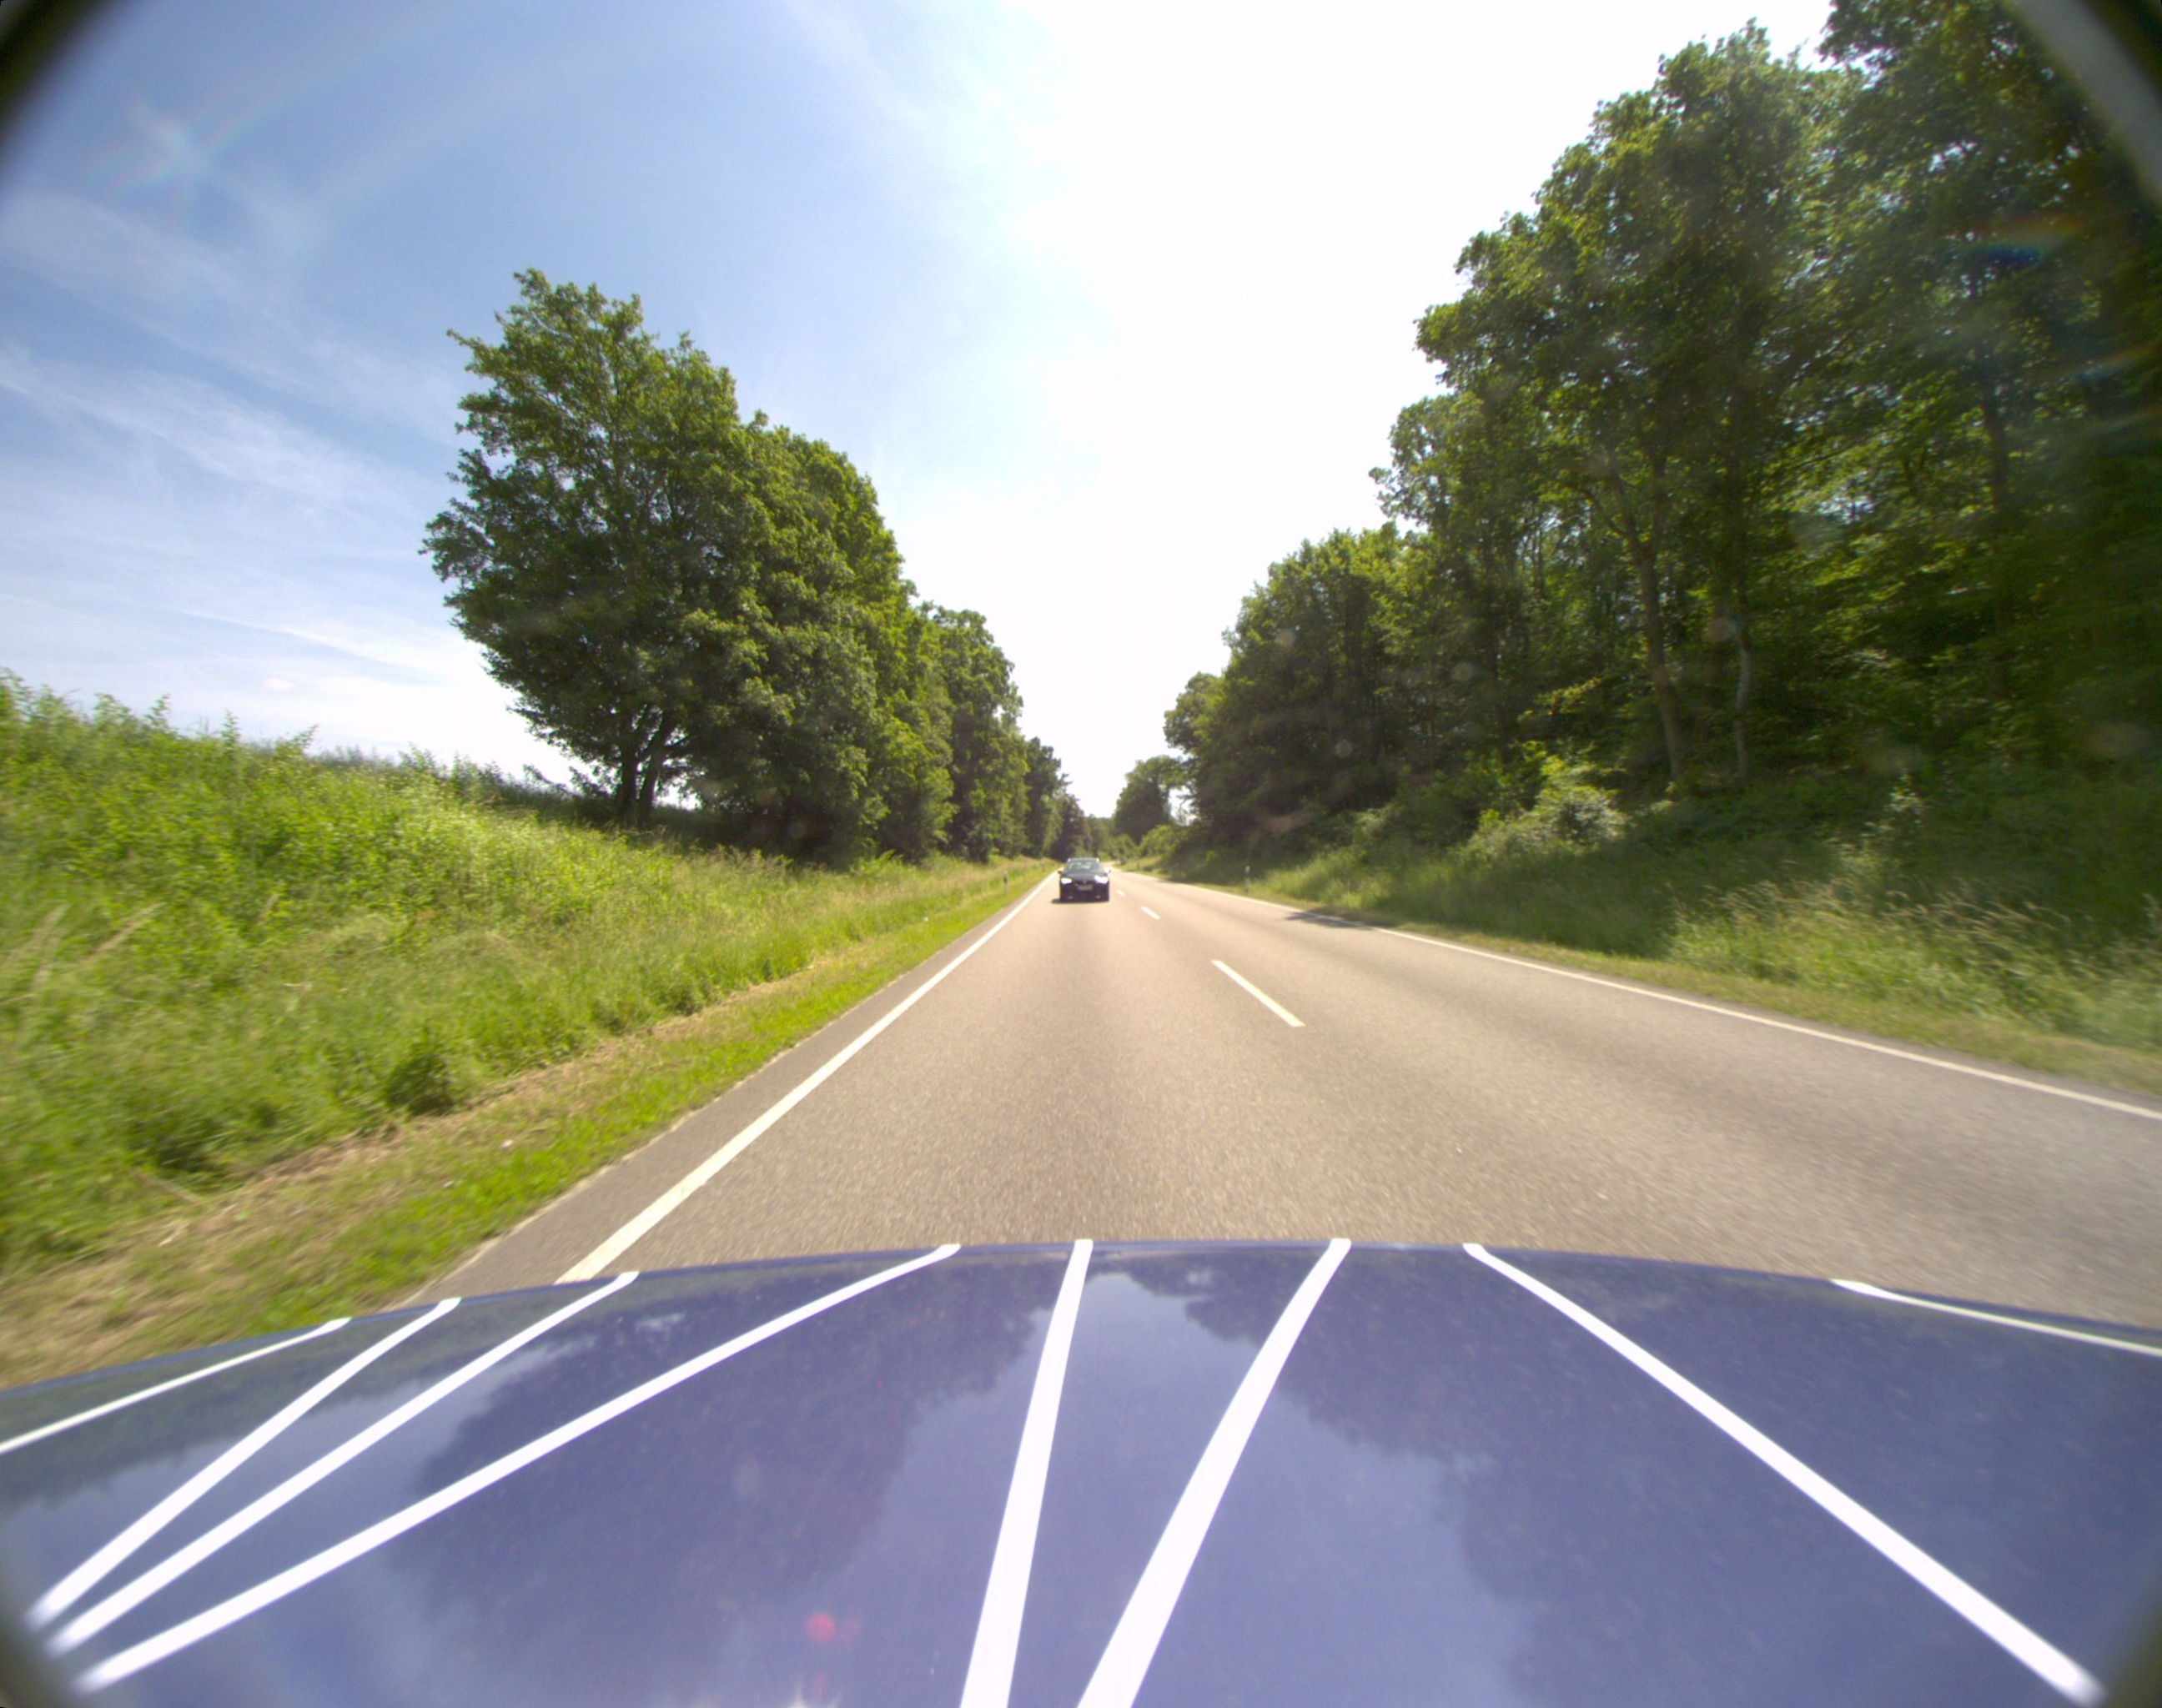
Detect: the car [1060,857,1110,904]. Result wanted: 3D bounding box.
[{"bbox_3d":[0.125,0.905,27.421,1.662,1.531,3.486,-1,0,0],"label":"car"}]
